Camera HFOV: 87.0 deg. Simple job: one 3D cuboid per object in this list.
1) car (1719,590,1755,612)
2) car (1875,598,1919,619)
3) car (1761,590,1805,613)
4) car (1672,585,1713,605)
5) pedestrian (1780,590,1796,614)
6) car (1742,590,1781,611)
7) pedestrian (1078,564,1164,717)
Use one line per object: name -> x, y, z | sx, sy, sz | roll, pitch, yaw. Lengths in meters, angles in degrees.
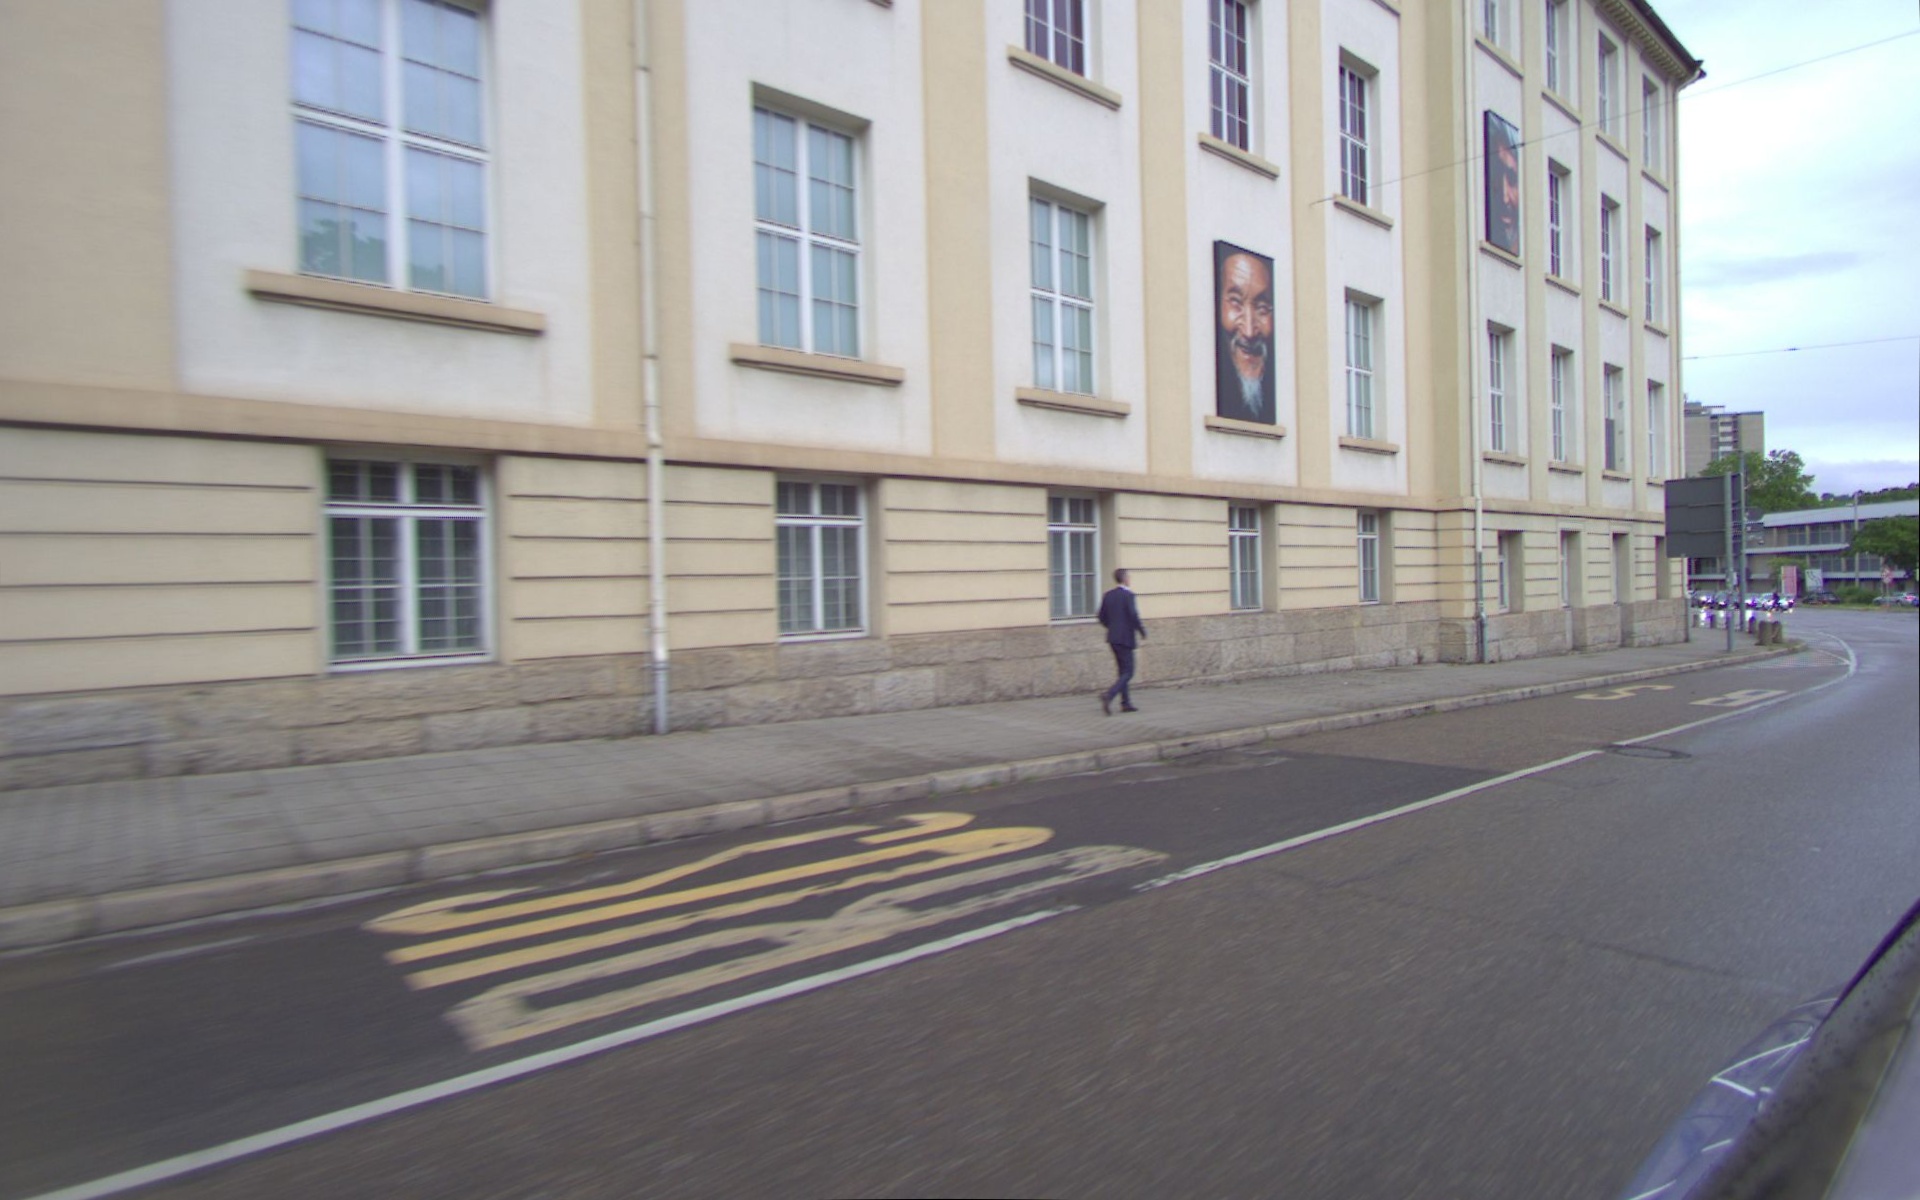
car -> 68.712, 0.069, 89.538 | 1.867, 1.892, 4.304 | 0, 0, 28
car -> 90.372, 0.770, 96.927 | 2.043, 1.935, 4.335 | 0, 0, 9
car -> 71.116, 0.118, 87.512 | 2.058, 1.935, 4.518 | 0, 0, 28
car -> 74.252, -0.519, 102.612 | 2.050, 1.935, 4.535 | 0, 0, 19
pedestrian -> 66.126, 0.162, 80.829 | 0.900, 1.819, 0.533 | -3, -2, 45
car -> 73.641, 0.063, 93.041 | 2.058, 1.850, 4.518 | 0, 0, 28
pedestrian -> 1.994, 0.474, 12.538 | 0.836, 1.820, 0.671 | 0, 0, -39
